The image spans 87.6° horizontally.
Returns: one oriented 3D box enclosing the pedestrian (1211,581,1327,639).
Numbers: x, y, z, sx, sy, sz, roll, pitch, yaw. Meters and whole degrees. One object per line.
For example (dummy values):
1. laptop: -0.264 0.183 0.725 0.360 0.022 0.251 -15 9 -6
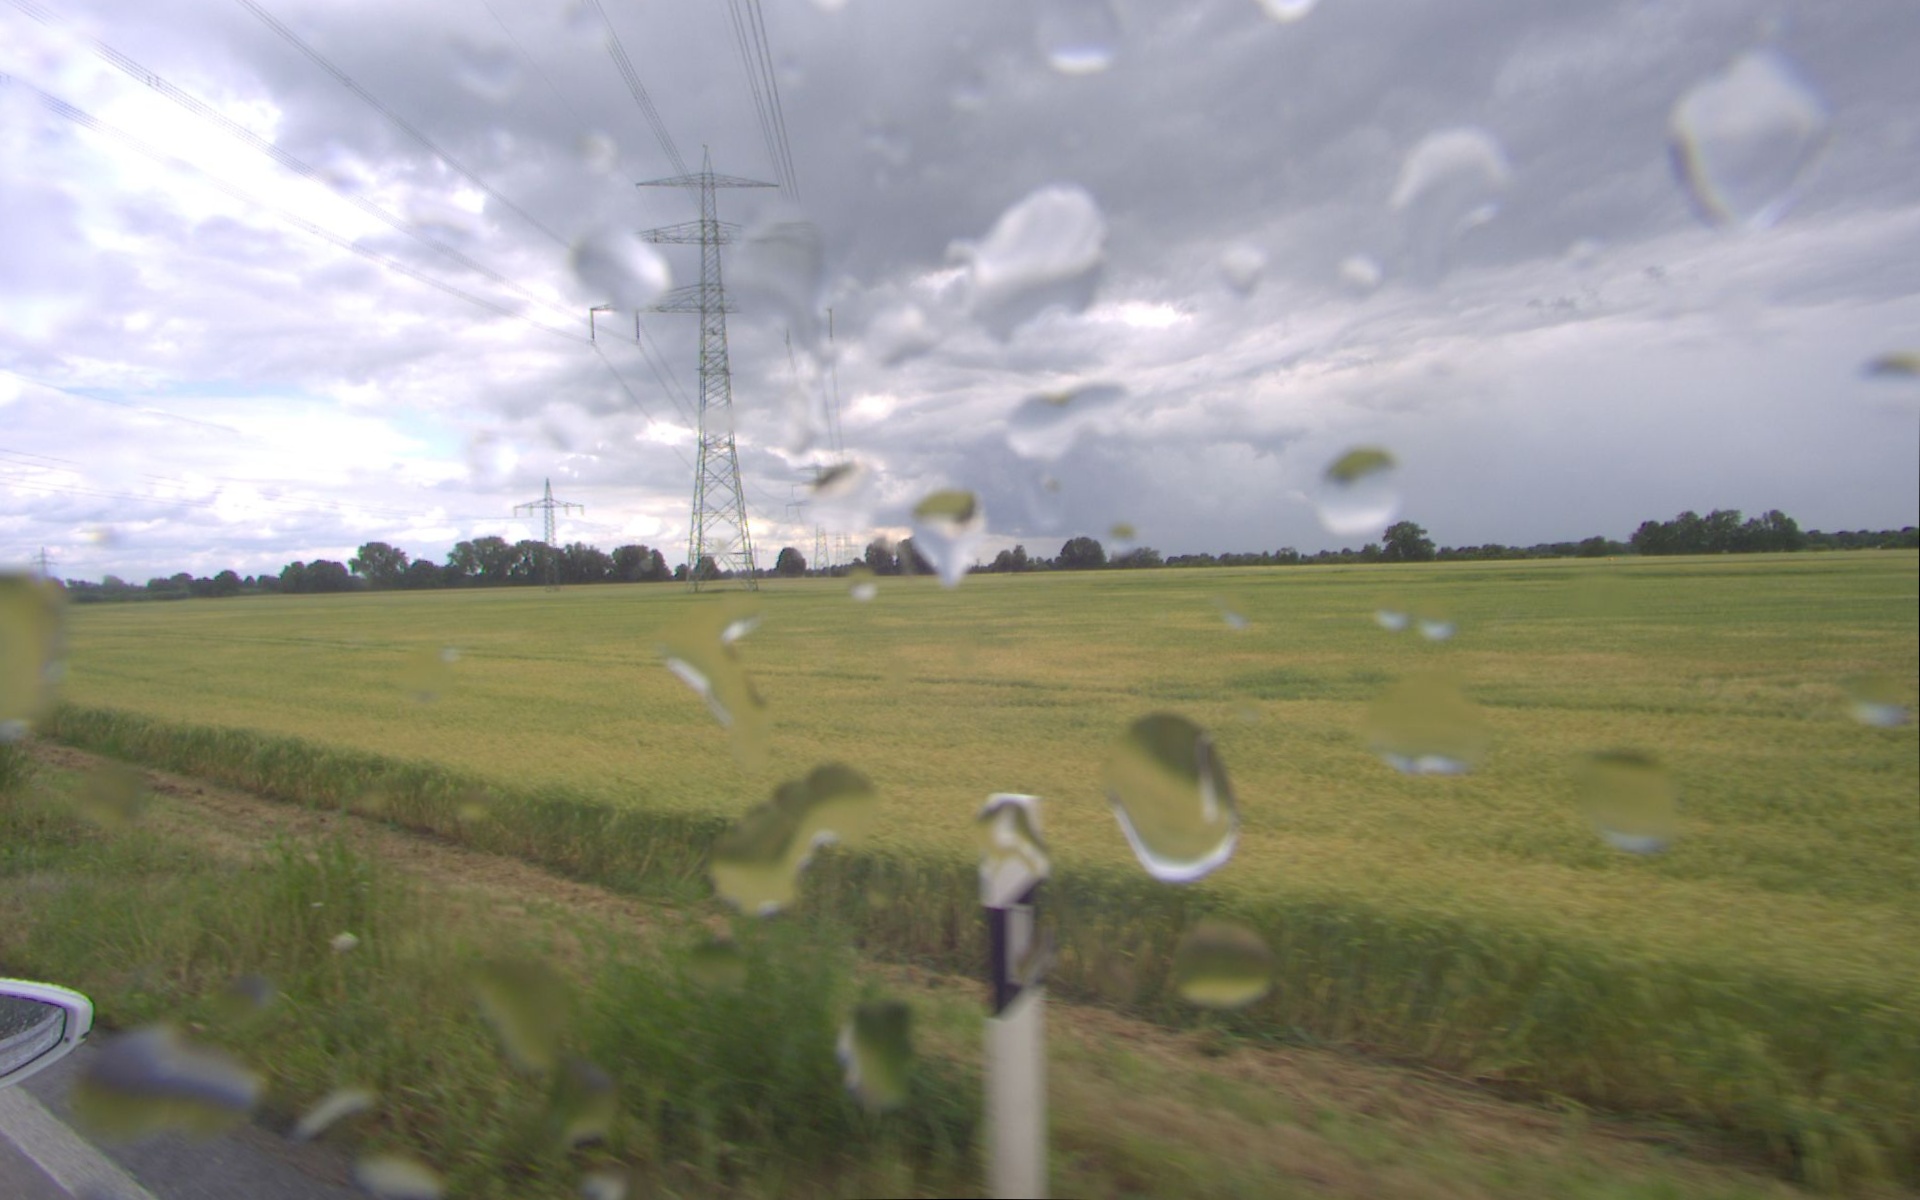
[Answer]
1. pedestrian: 11.694 0.400 37.880 3.934 2.039 1.995 -2 -2 24
